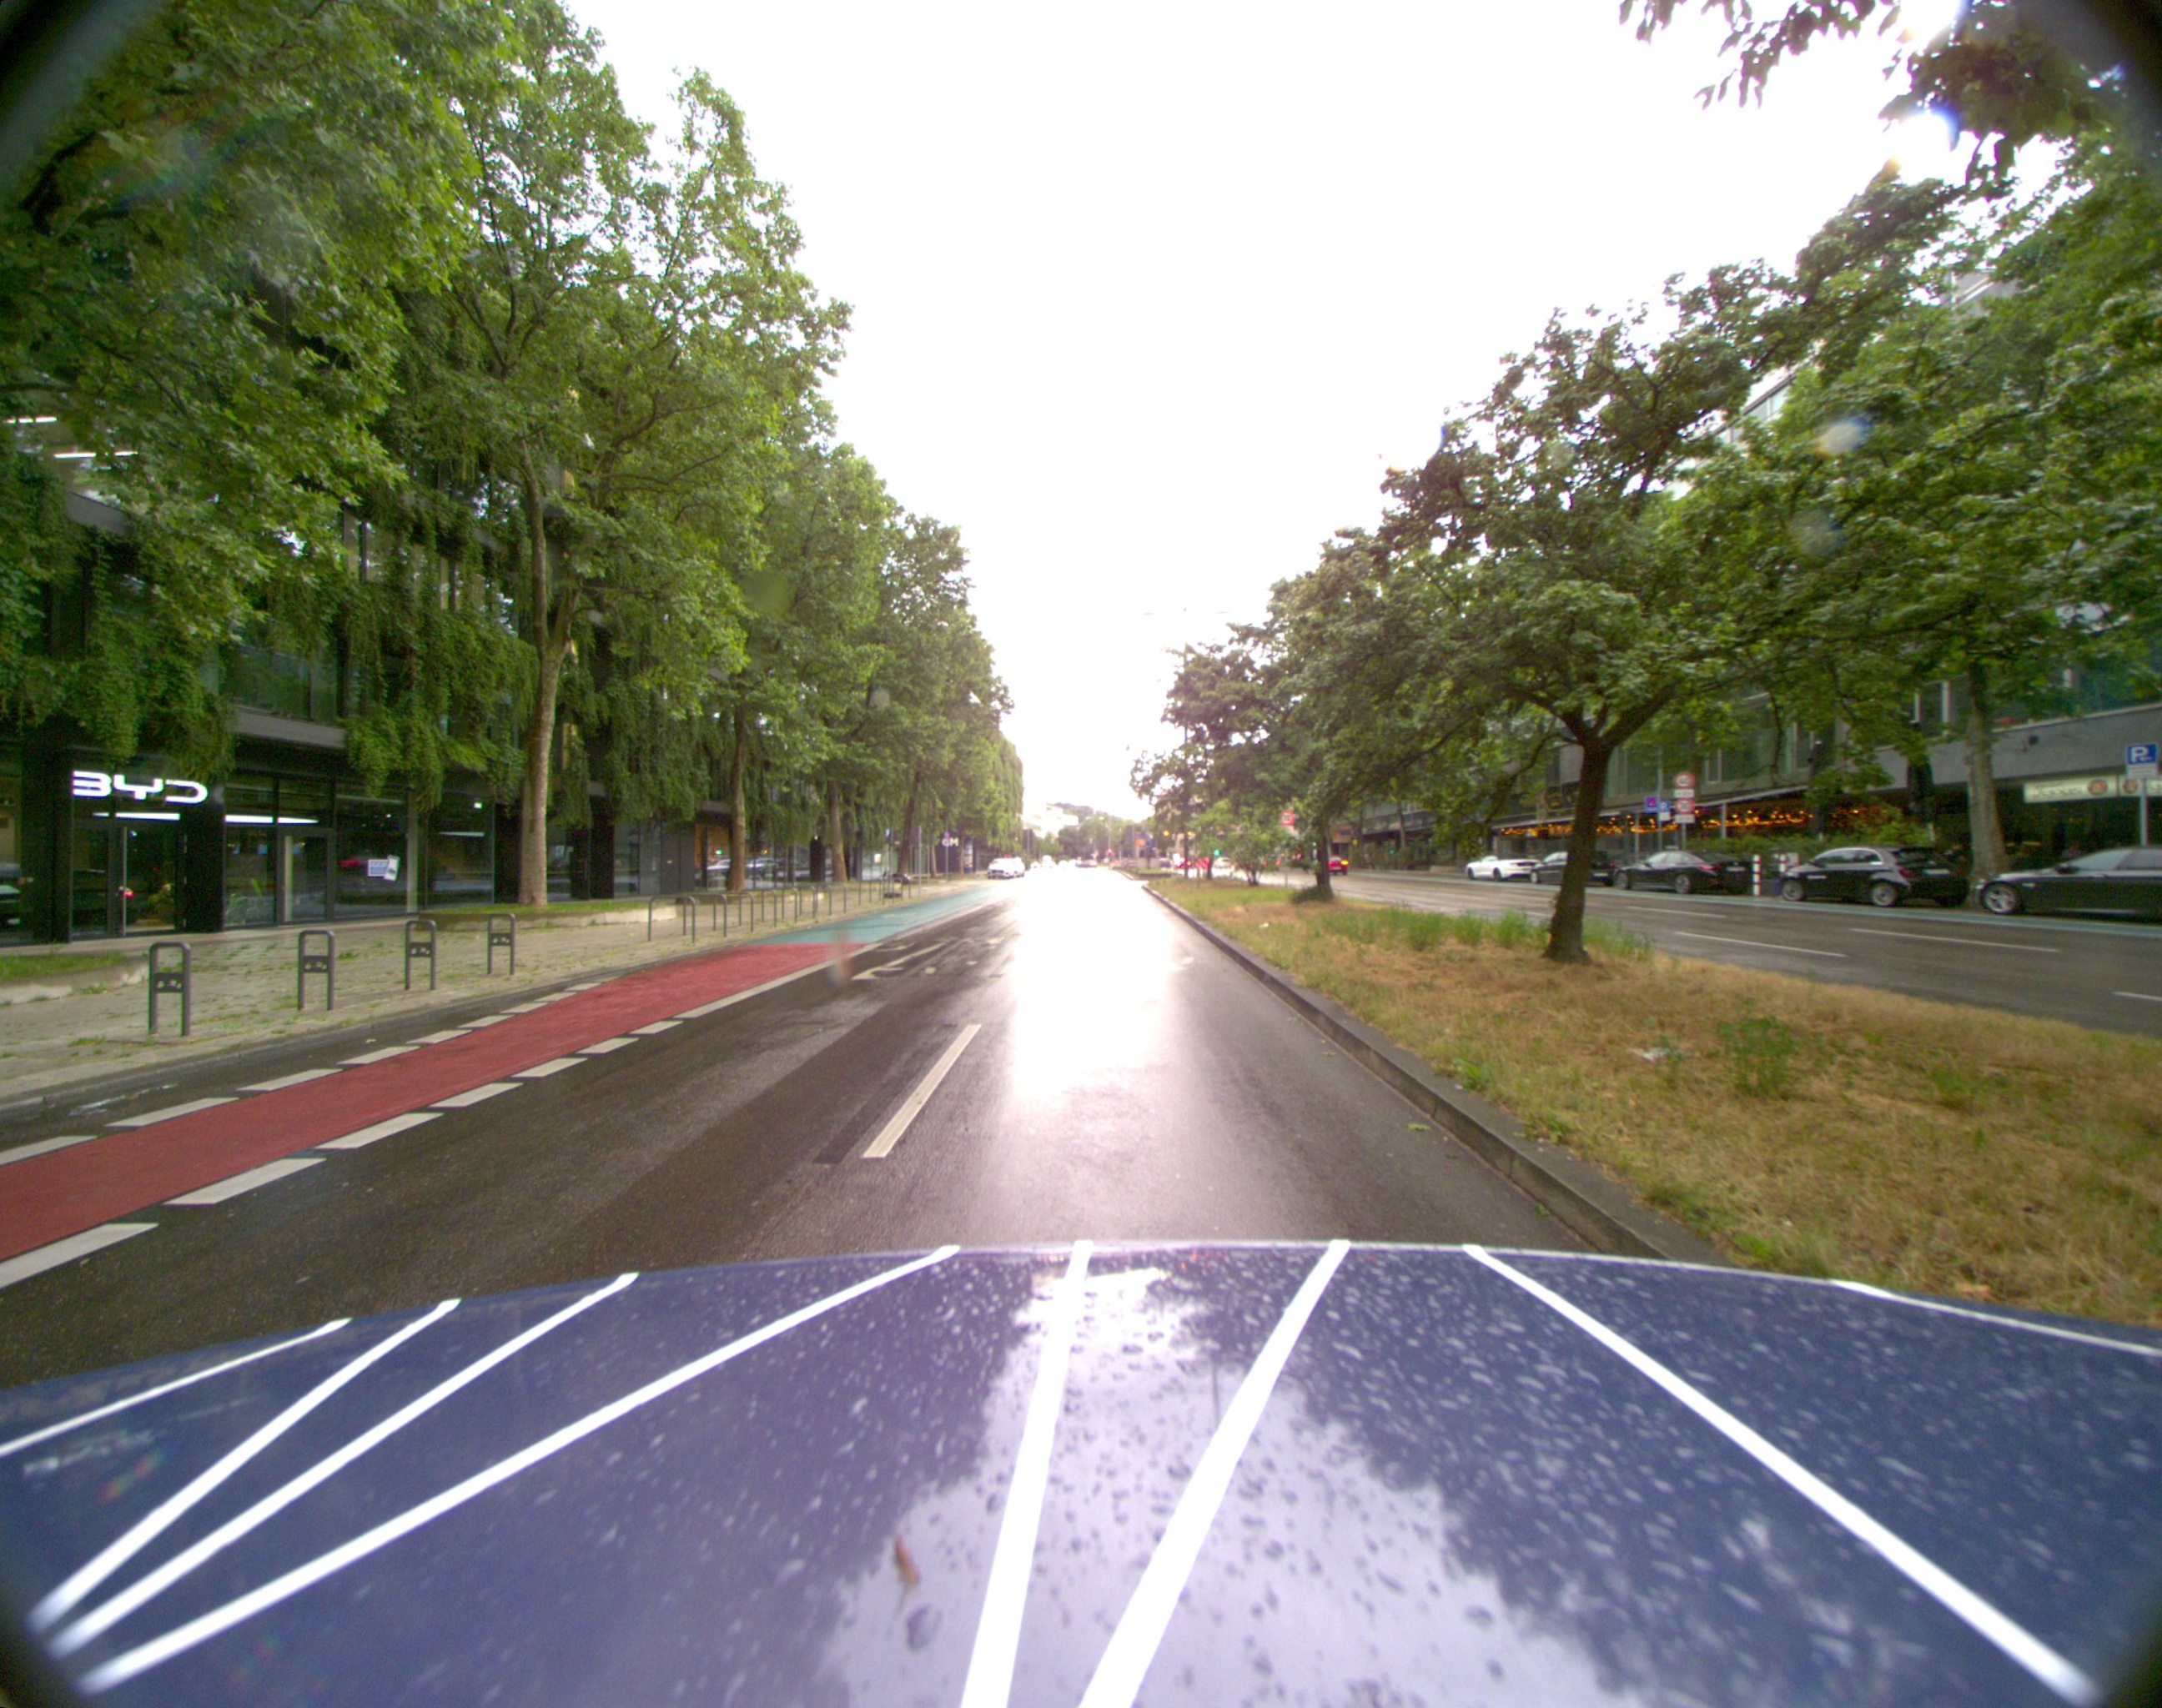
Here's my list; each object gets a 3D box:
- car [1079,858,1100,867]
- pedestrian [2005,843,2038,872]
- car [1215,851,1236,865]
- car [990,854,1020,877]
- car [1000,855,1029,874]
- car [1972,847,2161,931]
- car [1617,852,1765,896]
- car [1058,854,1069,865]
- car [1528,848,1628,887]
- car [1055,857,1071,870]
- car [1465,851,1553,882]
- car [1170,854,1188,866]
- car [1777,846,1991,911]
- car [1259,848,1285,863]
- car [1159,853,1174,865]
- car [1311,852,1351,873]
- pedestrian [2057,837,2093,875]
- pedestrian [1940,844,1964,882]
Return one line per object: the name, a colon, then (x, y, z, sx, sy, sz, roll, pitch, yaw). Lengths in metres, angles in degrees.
car: (1.609, 1.566, 143.365, 3.453, 1.450, 1.652, -2, 1, 20)
pedestrian: (27.936, 0.101, 22.578, 0.440, 0.845, 0.433, -2, 1, -1)
car: (19.848, 0.515, 104.520, 1.998, 1.805, 3.999, -2, 1, 0)
car: (-6.403, 0.972, 64.311, 1.932, 1.726, 4.598, -2, 1, 0)
car: (-6.092, 0.939, 70.384, 2.036, 1.553, 4.585, -2, 1, 2)
car: (19.877, 0.608, 13.966, 1.875, 1.377, 4.537, -2, 1, 5)
car: (20.244, 0.599, 25.482, 1.647, 1.232, 4.319, -2, 1, 3)
car: (-2.714, 0.855, 120.300, 1.556, 1.534, 3.663, -2, 1, 1)
car: (20.450, 0.512, 31.471, 1.750, 1.445, 3.788, -2, 1, 2)
car: (-2.198, 1.195, 95.482, 1.780, 1.546, 3.929, -2, 1, 1)
car: (20.746, 0.565, 37.036, 1.881, 1.318, 4.392, -2, 1, 2)
car: (12.572, 0.809, 97.298, 1.678, 1.381, 3.527, -2, 1, -2)
car: (20.075, 0.551, 19.219, 1.875, 1.414, 3.400, -2, 1, 2)
car: (19.165, 0.150, 76.410, 1.868, 1.408, 4.105, -2, 1, 4)
car: (12.562, 0.733, 111.907, 1.881, 1.567, 3.820, -2, 1, 3)
car: (18.071, 0.576, 55.035, 1.765, 1.318, 3.738, -2, 1, 2)
pedestrian: (27.748, 0.051, 21.211, 0.464, 1.010, 0.424, -2, 1, -1)
pedestrian: (27.799, 0.274, 24.251, 0.446, 1.179, 0.466, -4, 2, -44)
